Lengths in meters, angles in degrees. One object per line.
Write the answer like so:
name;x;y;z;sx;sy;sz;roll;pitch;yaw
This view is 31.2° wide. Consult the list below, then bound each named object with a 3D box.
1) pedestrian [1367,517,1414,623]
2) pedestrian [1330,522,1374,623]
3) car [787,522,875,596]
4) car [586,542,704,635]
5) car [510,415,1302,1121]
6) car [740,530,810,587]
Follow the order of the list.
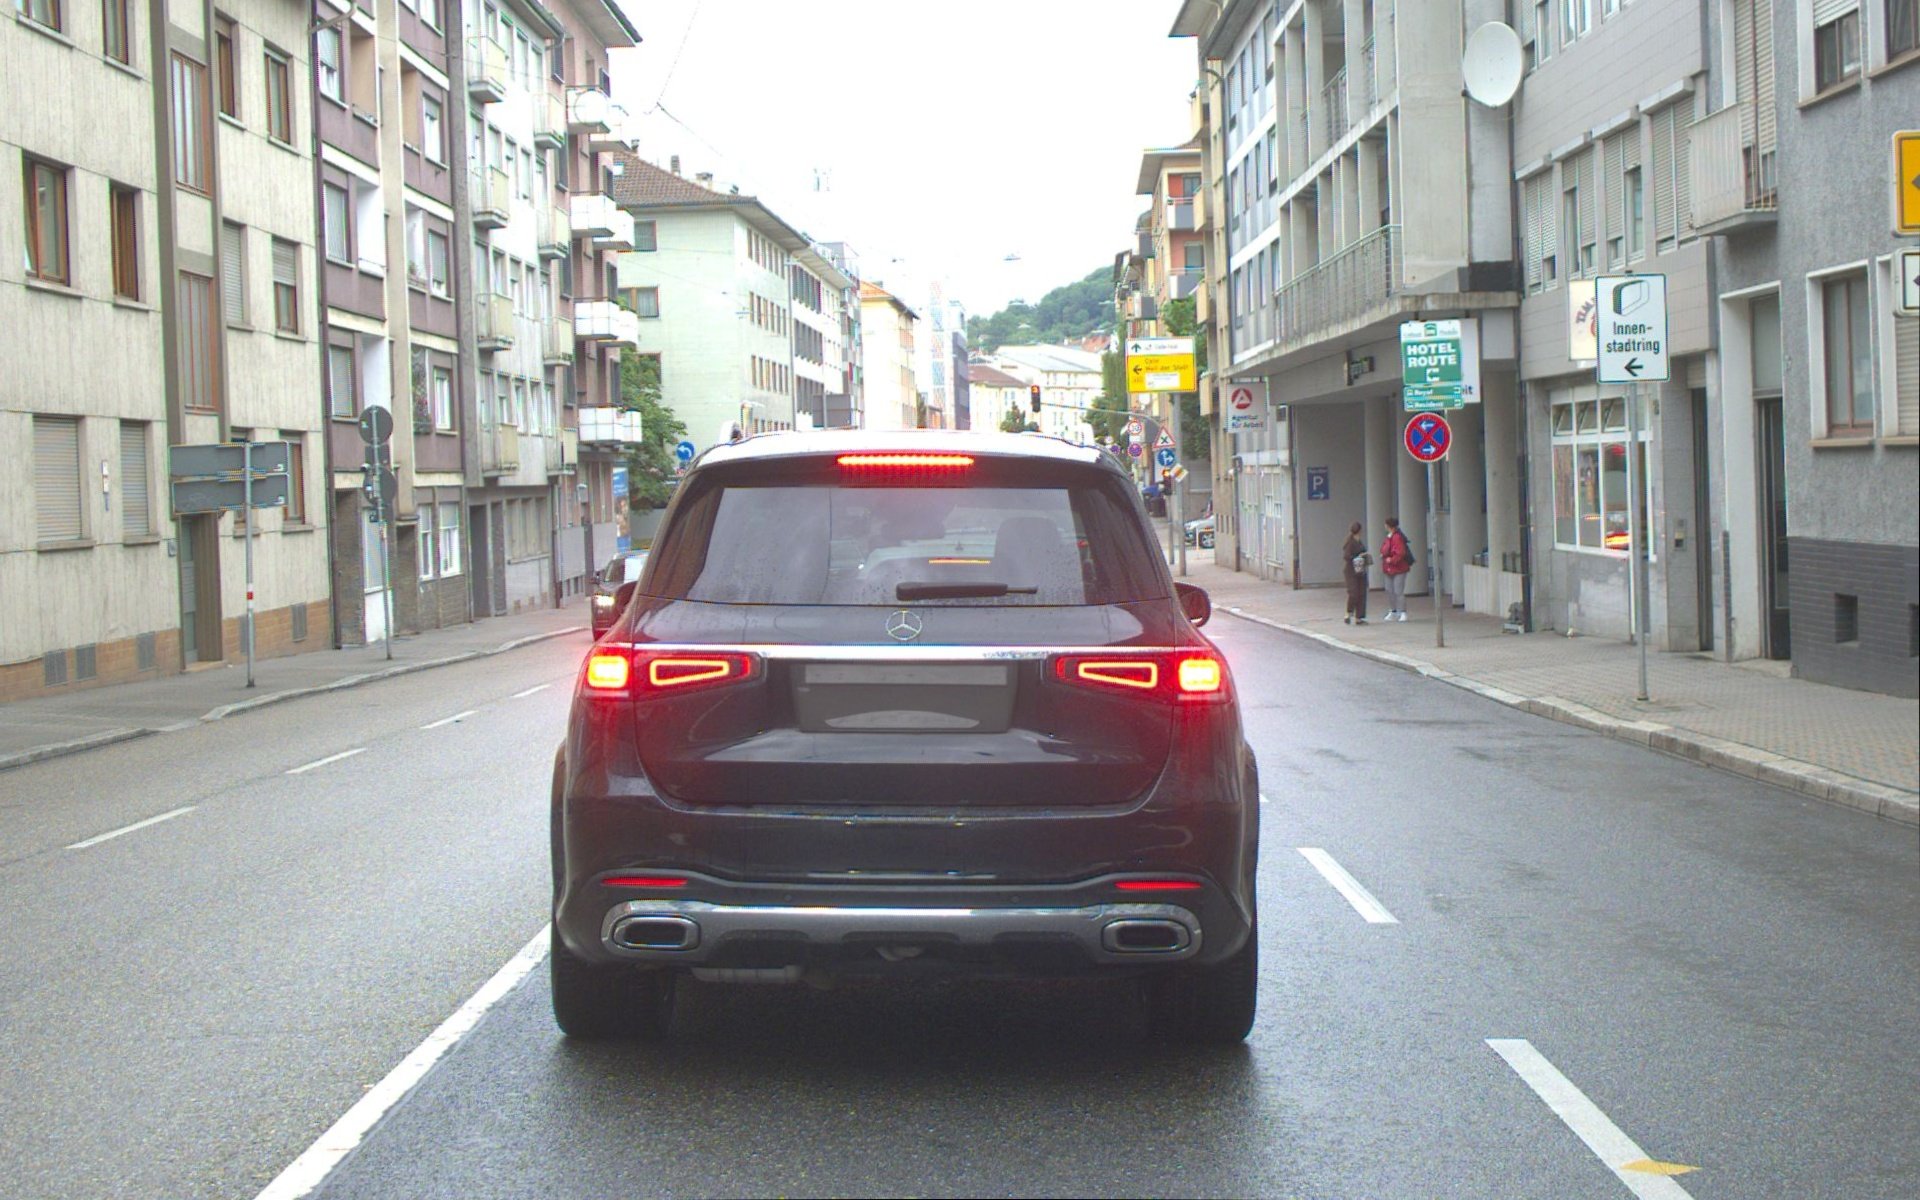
pedestrian;6.583;-0.460;52.572;0.560;1.573;0.526;-4;1;0
pedestrian;6.007;-0.426;52.647;0.506;1.495;0.562;-4;1;-1
car;-3.277;-1.077;87.946;1.836;1.721;4.474;-4;1;2
car;-5.692;-0.229;62.470;1.703;1.502;4.160;-4;1;-1
car;-0.164;0.397;10.929;2.025;1.799;4.000;1;1;-1
car;-5.497;-1.257;102.523;1.797;1.579;4.316;-3;1;0
